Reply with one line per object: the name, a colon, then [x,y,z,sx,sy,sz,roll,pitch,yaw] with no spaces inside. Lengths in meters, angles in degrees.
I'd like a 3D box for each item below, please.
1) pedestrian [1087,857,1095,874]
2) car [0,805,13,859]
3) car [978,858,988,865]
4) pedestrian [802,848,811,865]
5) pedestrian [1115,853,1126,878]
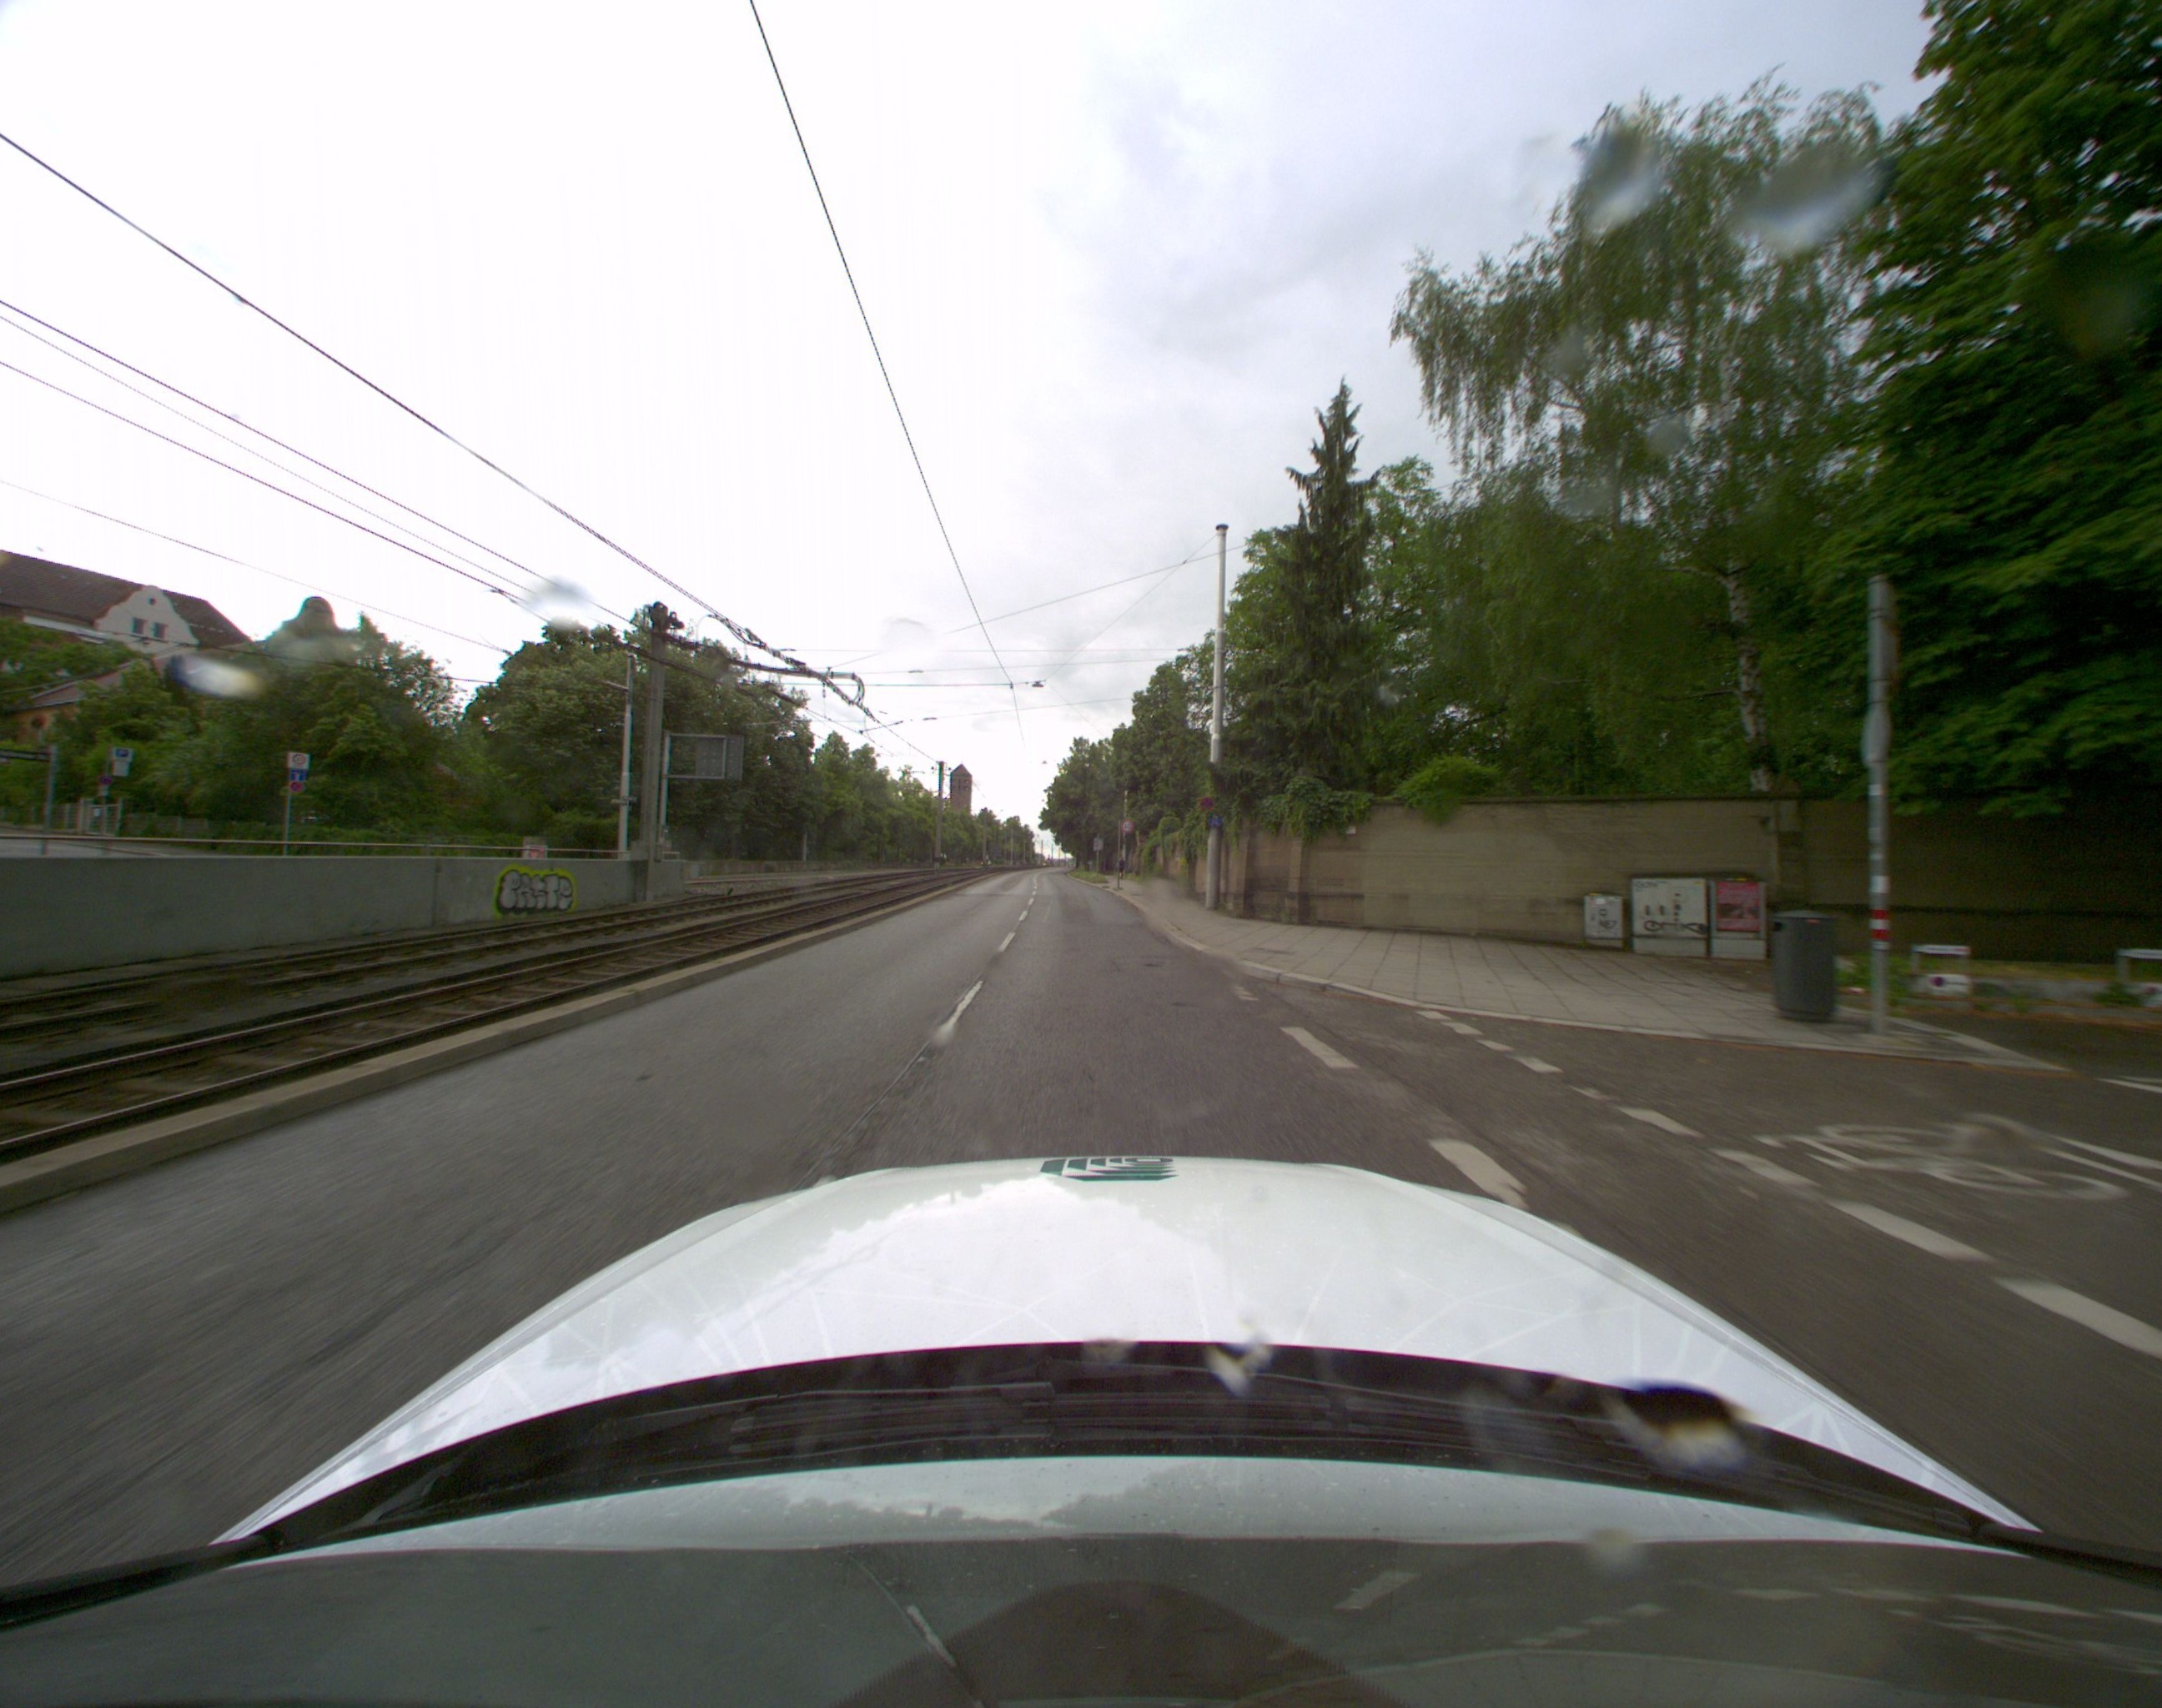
pedestrian: [1.019,1.113,80.732,0.717,1.687,0.729,2,-1,-1]
car: [-32.648,-0.793,22.771,4.311,1.503,1.913,3,-3,18]
car: [-23.377,1.840,194.189,1.789,1.510,3.847,1,0,-1]
pedestrian: [-25.863,0.239,76.792,0.646,1.661,0.650,0,0,-1]
pedestrian: [3.007,0.855,61.775,0.717,1.850,0.783,2,-1,-1]
